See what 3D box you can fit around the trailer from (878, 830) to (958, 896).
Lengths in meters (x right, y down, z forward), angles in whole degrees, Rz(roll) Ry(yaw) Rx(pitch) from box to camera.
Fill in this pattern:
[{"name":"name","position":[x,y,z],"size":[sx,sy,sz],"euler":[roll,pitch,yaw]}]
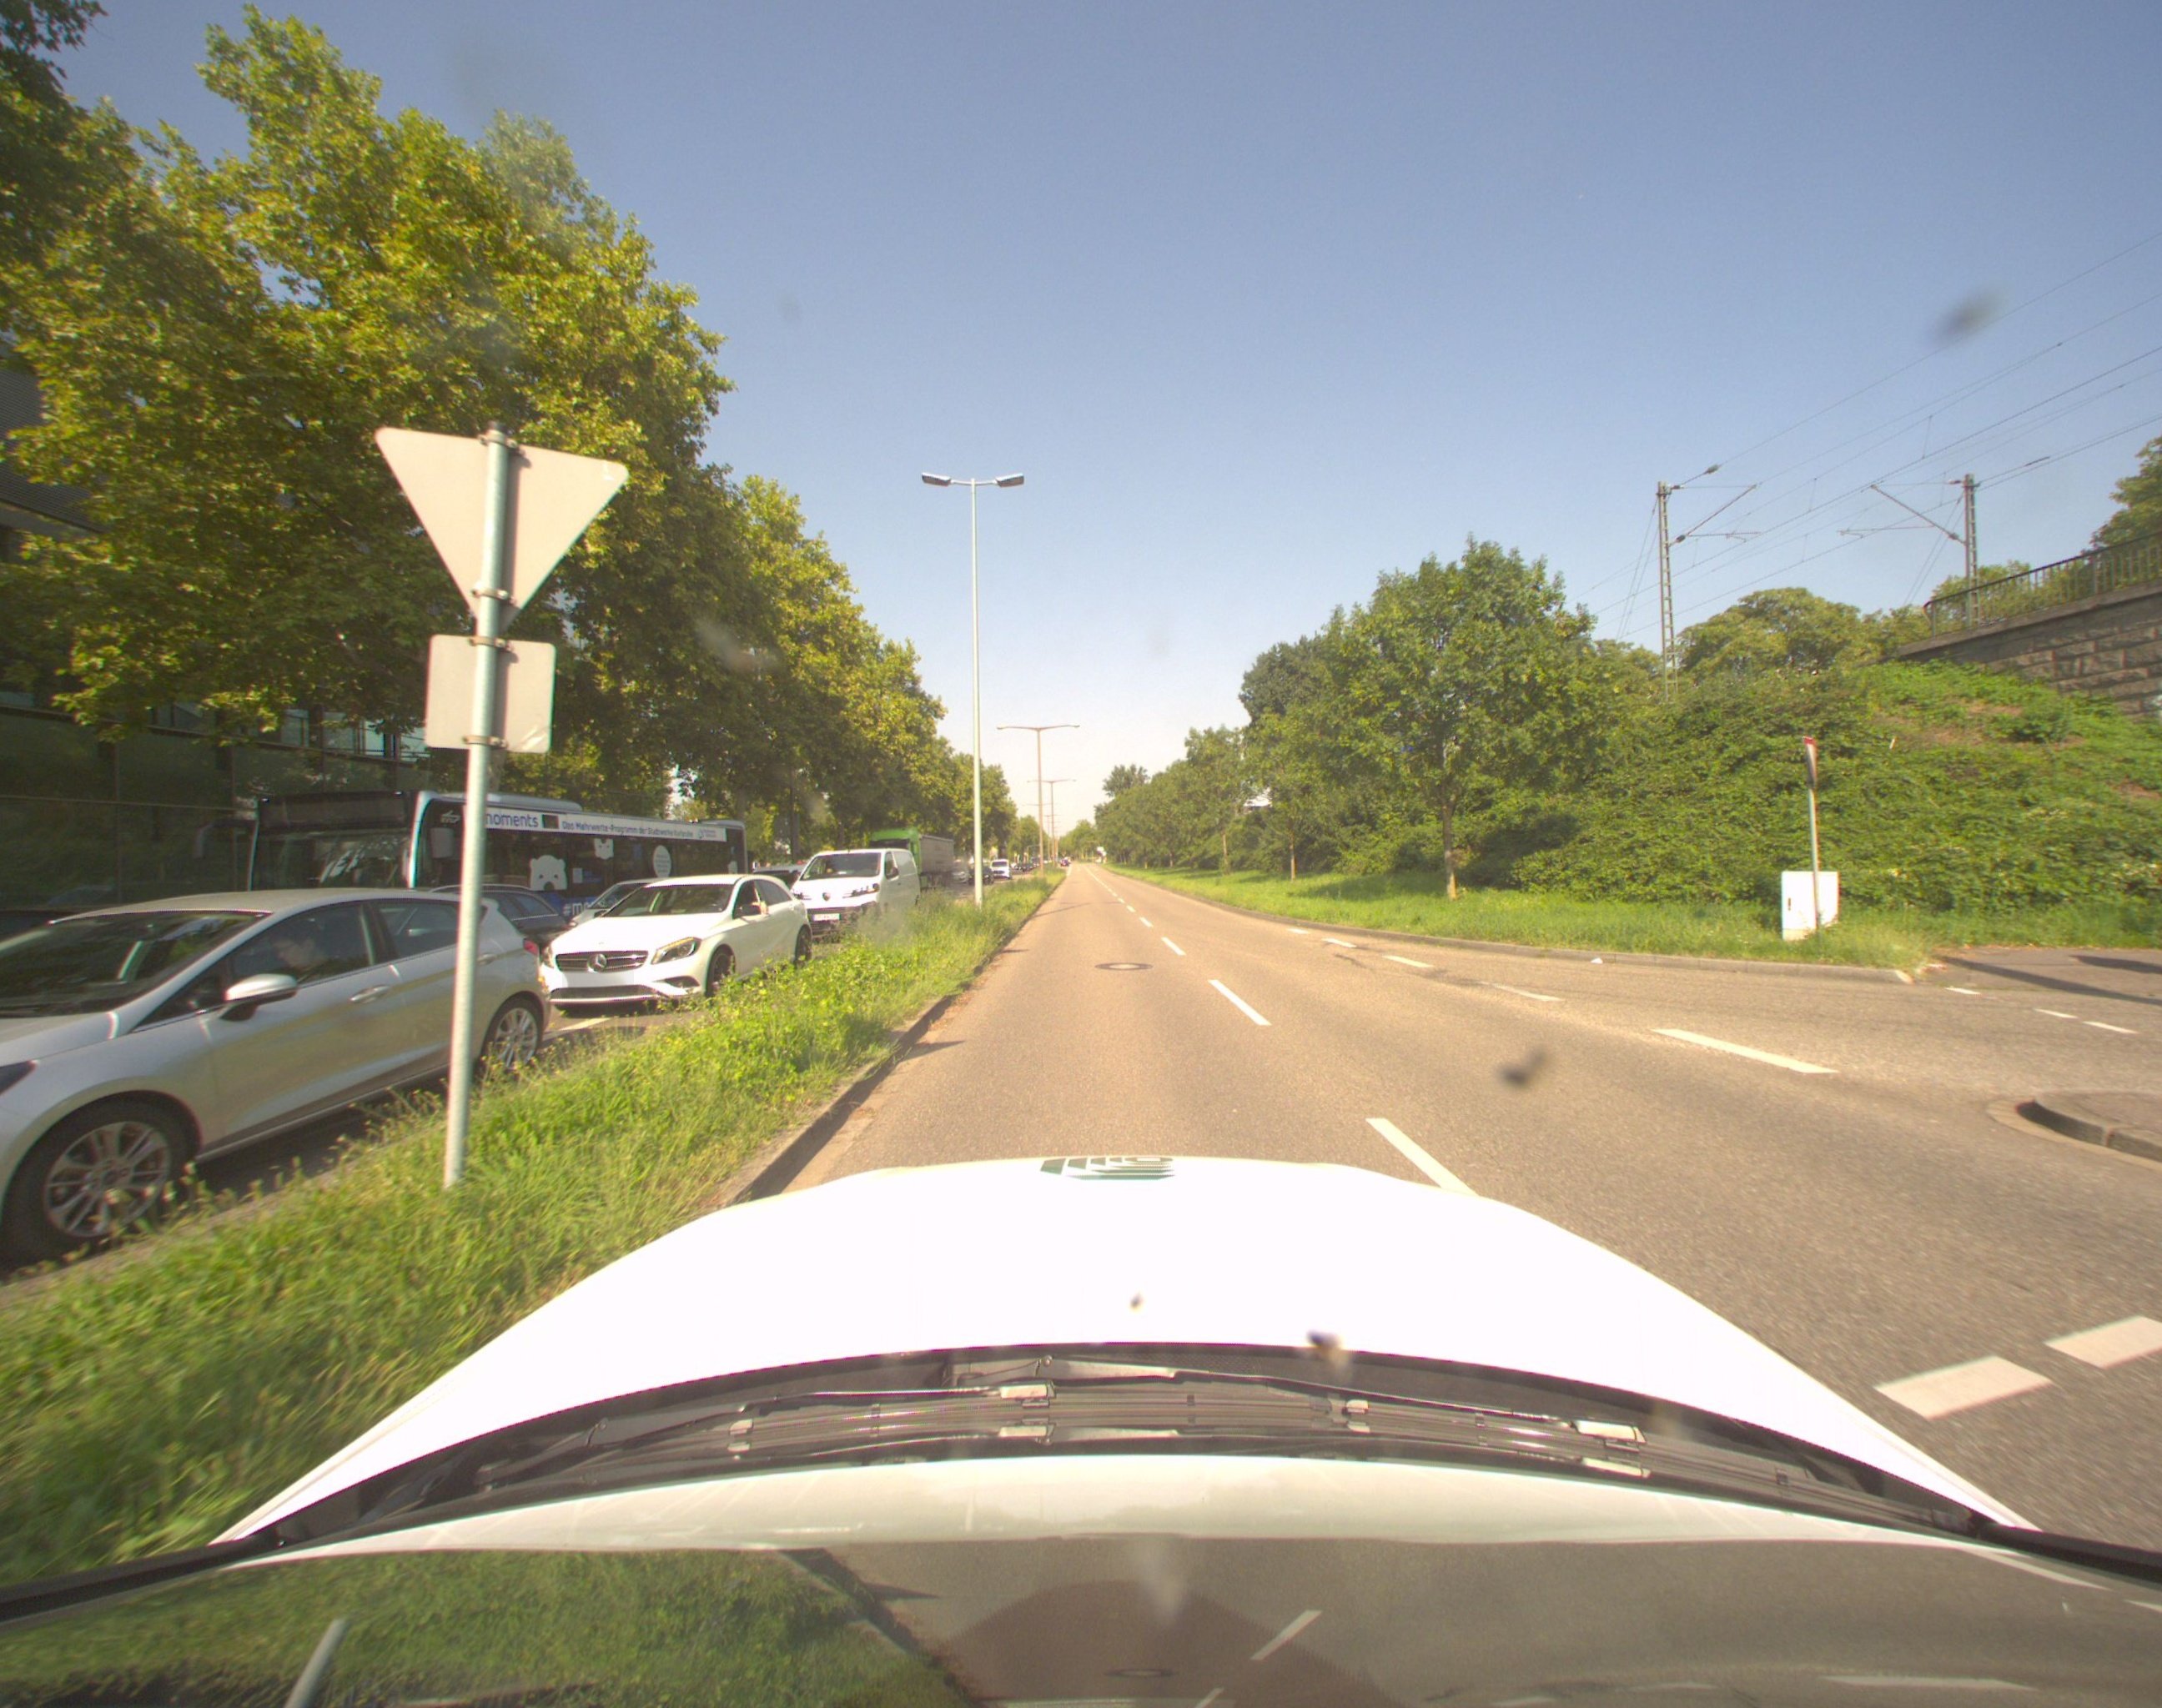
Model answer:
[{"name":"trailer","position":[-10.796,0.645,55.774],"size":[2.625,3.822,13.806],"euler":[-3,-1,-1]}]

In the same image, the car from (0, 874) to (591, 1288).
[{"name":"car","position":[-4.808,0.917,4.533],"size":[1.638,1.495,4.000],"euler":[-3,-1,0]}]

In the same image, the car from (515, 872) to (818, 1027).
[{"name":"car","position":[-4.771,0.989,10.121],"size":[1.704,1.402,4.081],"euler":[-2,0,-1]}]

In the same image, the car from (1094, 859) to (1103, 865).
[{"name":"car","position":[4.433,2.042,207.828],"size":[1.784,1.510,4.009],"euler":[-1,-1,8]}]

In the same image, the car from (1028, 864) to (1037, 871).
[{"name":"car","position":[-11.733,3.262,197.187],"size":[1.987,1.760,4.475],"euler":[-2,-1,0]}]

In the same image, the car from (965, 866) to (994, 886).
[{"name":"car","position":[-7.742,1.664,62.409],"size":[1.609,1.399,3.857],"euler":[-3,-1,1]}]

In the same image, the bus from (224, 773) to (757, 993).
[{"name":"bus","position":[-10.846,0.517,17.742],"size":[2.582,3.080,12.309],"euler":[-1,-1,0]}]

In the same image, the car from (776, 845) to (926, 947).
[{"name":"car","position":[-4.860,0.841,18.014],"size":[1.906,1.864,4.887],"euler":[-3,-1,-1]}]

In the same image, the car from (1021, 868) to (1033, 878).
[{"name":"car","position":[-8.715,3.125,131.472],"size":[1.742,1.479,4.582],"euler":[-3,-1,-2]}]

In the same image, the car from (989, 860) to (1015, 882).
[{"name":"car","position":[-7.569,1.632,78.430],"size":[1.988,1.953,5.033],"euler":[-2,-1,-1]}]

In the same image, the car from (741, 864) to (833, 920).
[{"name":"car","position":[-11.125,1.373,31.179],"size":[1.698,1.888,4.747],"euler":[-3,-1,0]}]

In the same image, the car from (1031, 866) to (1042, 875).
[{"name":"car","position":[-8.699,3.254,159.472],"size":[1.948,1.724,4.585],"euler":[-2,-1,0]}]

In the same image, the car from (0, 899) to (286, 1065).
[{"name":"car","position":[-10.728,1.252,8.099],"size":[1.737,1.390,3.997],"euler":[-2,-1,-1]}]

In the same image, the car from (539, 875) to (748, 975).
[{"name":"car","position":[-7.770,1.177,14.916],"size":[1.701,1.467,3.820],"euler":[-3,-1,-1]}]

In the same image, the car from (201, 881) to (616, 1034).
[{"name":"car","position":[-7.809,1.090,10.077],"size":[1.700,1.442,4.001],"euler":[0,-1,2]}]

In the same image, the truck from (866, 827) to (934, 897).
[{"name":"truck","position":[-10.760,0.488,48.958],"size":[2.600,3.820,5.889],"euler":[-3,-1,-1]}]

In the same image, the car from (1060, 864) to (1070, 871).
[{"name":"car","position":[-3.428,2.912,175.885],"size":[1.685,1.486,4.002],"euler":[-2,-1,3]}]

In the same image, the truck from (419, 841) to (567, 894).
[{"name":"truck","position":[-35.192,0.830,49.300],"size":[1.985,2.861,9.132],"euler":[-1,-1,3]}]

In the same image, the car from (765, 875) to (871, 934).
[{"name":"car","position":[-7.549,1.402,23.774],"size":[1.642,1.433,4.188],"euler":[-3,-1,0]}]
